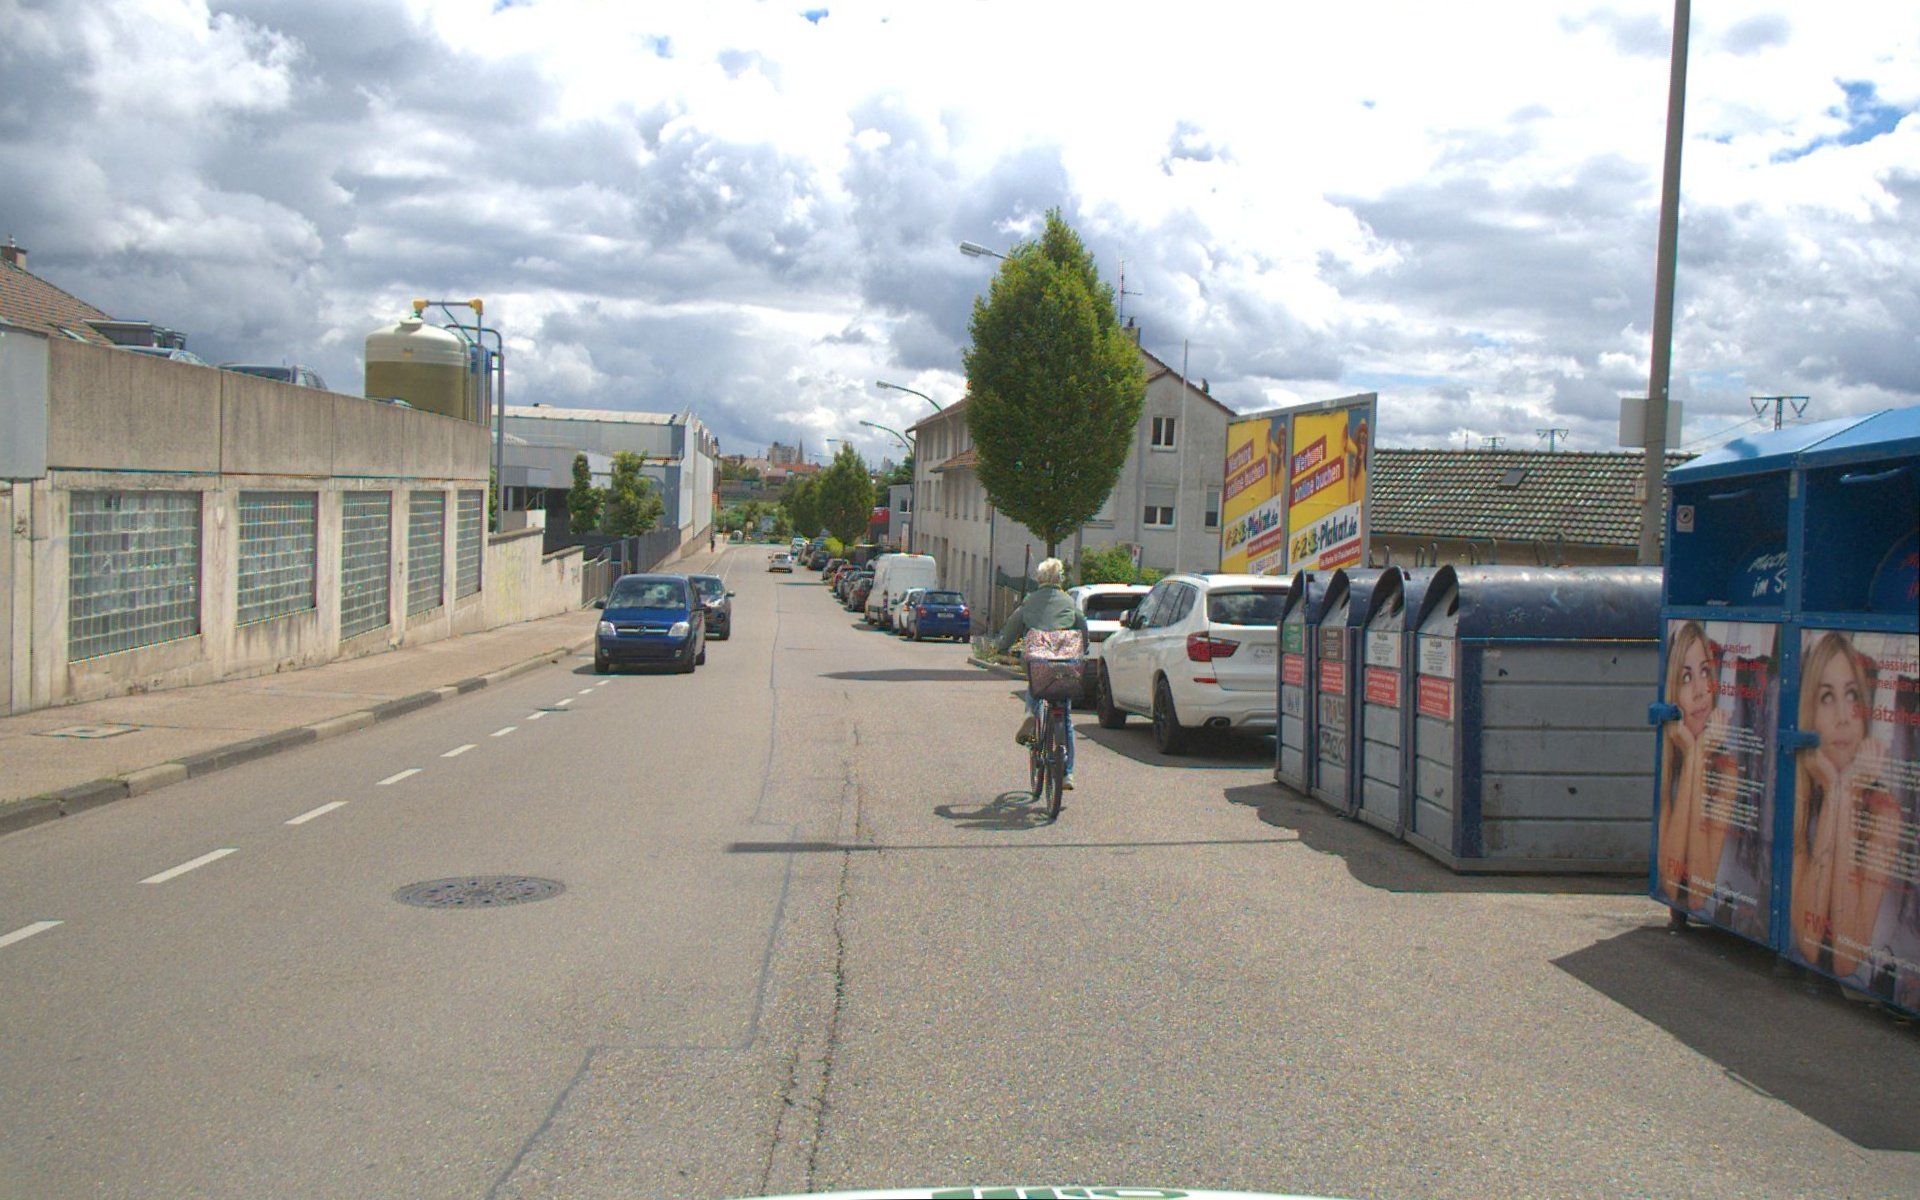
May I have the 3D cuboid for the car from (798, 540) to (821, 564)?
[{"bbox_3d":[-13.778,-4.381,150.883,1.834,2.024,5.136,2,2,-8],"label":"car"}]

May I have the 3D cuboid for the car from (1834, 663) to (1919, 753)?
[{"bbox_3d":[16.996,1.850,27.825,3.958,1.414,1.521,0,0,32],"label":"car"}]

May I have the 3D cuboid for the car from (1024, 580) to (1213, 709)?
[{"bbox_3d":[2.047,0.533,22.633,1.806,1.592,4.461,0,0,-5],"label":"car"}]

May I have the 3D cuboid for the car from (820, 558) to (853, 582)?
[{"bbox_3d":[-8.212,-2.017,109.814,1.758,1.491,4.700,2,2,-9],"label":"car"}]

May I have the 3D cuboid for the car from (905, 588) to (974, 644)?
[{"bbox_3d":[-0.649,0.433,49.049,1.537,1.536,4.087,2,0,-8],"label":"car"}]

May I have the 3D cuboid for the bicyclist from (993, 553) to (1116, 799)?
[{"bbox_3d":[0.651,0.517,11.611,0.725,1.655,0.731,2,0,-5],"label":"bicyclist"}]

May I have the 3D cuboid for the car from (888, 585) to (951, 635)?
[{"bbox_3d":[-1.346,0.299,53.872,1.563,1.536,3.783,2,0,-9],"label":"car"}]

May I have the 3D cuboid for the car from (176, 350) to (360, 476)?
[{"bbox_3d":[-11.895,-3.169,28.727,1.771,1.665,4.099,2,0,-6],"label":"car"}]

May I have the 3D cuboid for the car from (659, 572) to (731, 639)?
[{"bbox_3d":[-6.903,0.123,43.357,1.766,1.650,4.085,1,1,-8],"label":"car"}]

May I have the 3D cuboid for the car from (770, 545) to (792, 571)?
[{"bbox_3d":[-13.430,-3.135,124.094,1.537,1.817,3.599,2,0,-8],"label":"car"}]

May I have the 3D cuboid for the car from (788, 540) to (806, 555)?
[{"bbox_3d":[-19.166,-6.133,194.578,1.671,1.553,3.729,5,2,-11],"label":"car"}]

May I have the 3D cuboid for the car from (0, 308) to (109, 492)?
[{"bbox_3d":[-10.431,-2.084,16.767,1.771,1.665,4.099,2,0,-6],"label":"car"}]

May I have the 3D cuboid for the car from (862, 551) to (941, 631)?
[{"bbox_3d":[-2.209,-0.336,60.018,1.995,2.687,7.269,2,0,-9],"label":"car"}]

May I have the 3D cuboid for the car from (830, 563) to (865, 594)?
[{"bbox_3d":[-6.404,-1.241,93.909,1.702,1.497,4.256,2,3,-7],"label":"car"}]

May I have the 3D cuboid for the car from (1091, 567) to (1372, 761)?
[{"bbox_3d":[2.587,0.553,16.867,1.653,1.688,4.474,1,0,-6],"label":"car"}]

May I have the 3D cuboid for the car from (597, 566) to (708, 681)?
[{"bbox_3d":[-5.243,0.366,28.564,1.595,1.849,3.775,1,0,-6],"label":"car"}]

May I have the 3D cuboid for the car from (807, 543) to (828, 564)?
[{"bbox_3d":[-11.754,-3.830,136.214,1.647,1.666,4.118,2,2,-6],"label":"car"}]

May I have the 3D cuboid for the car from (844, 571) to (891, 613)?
[{"bbox_3d":[-4.293,-0.401,76.193,1.673,1.535,5.079,4,3,-8],"label":"car"}]

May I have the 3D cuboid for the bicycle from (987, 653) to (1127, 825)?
[{"bbox_3d":[0.643,0.930,11.584,0.725,0.992,1.731,2,1,-4],"label":"bicycle"}]

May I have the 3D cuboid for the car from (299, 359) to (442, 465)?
[{"bbox_3d":[-11.973,-3.776,33.877,1.771,1.665,4.099,2,0,-6],"label":"car"}]

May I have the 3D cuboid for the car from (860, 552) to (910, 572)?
[{"bbox_3d":[-5.934,-2.978,130.452,4.006,1.488,1.713,2,4,44],"label":"car"}]

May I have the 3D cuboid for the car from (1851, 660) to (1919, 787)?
[{"bbox_3d":[15.187,1.891,25.058,1.712,1.714,4.684,0,1,12],"label":"car"}]

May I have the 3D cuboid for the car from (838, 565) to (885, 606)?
[{"bbox_3d":[-4.887,-0.750,81.731,1.647,1.666,4.785,4,3,-11],"label":"car"}]
